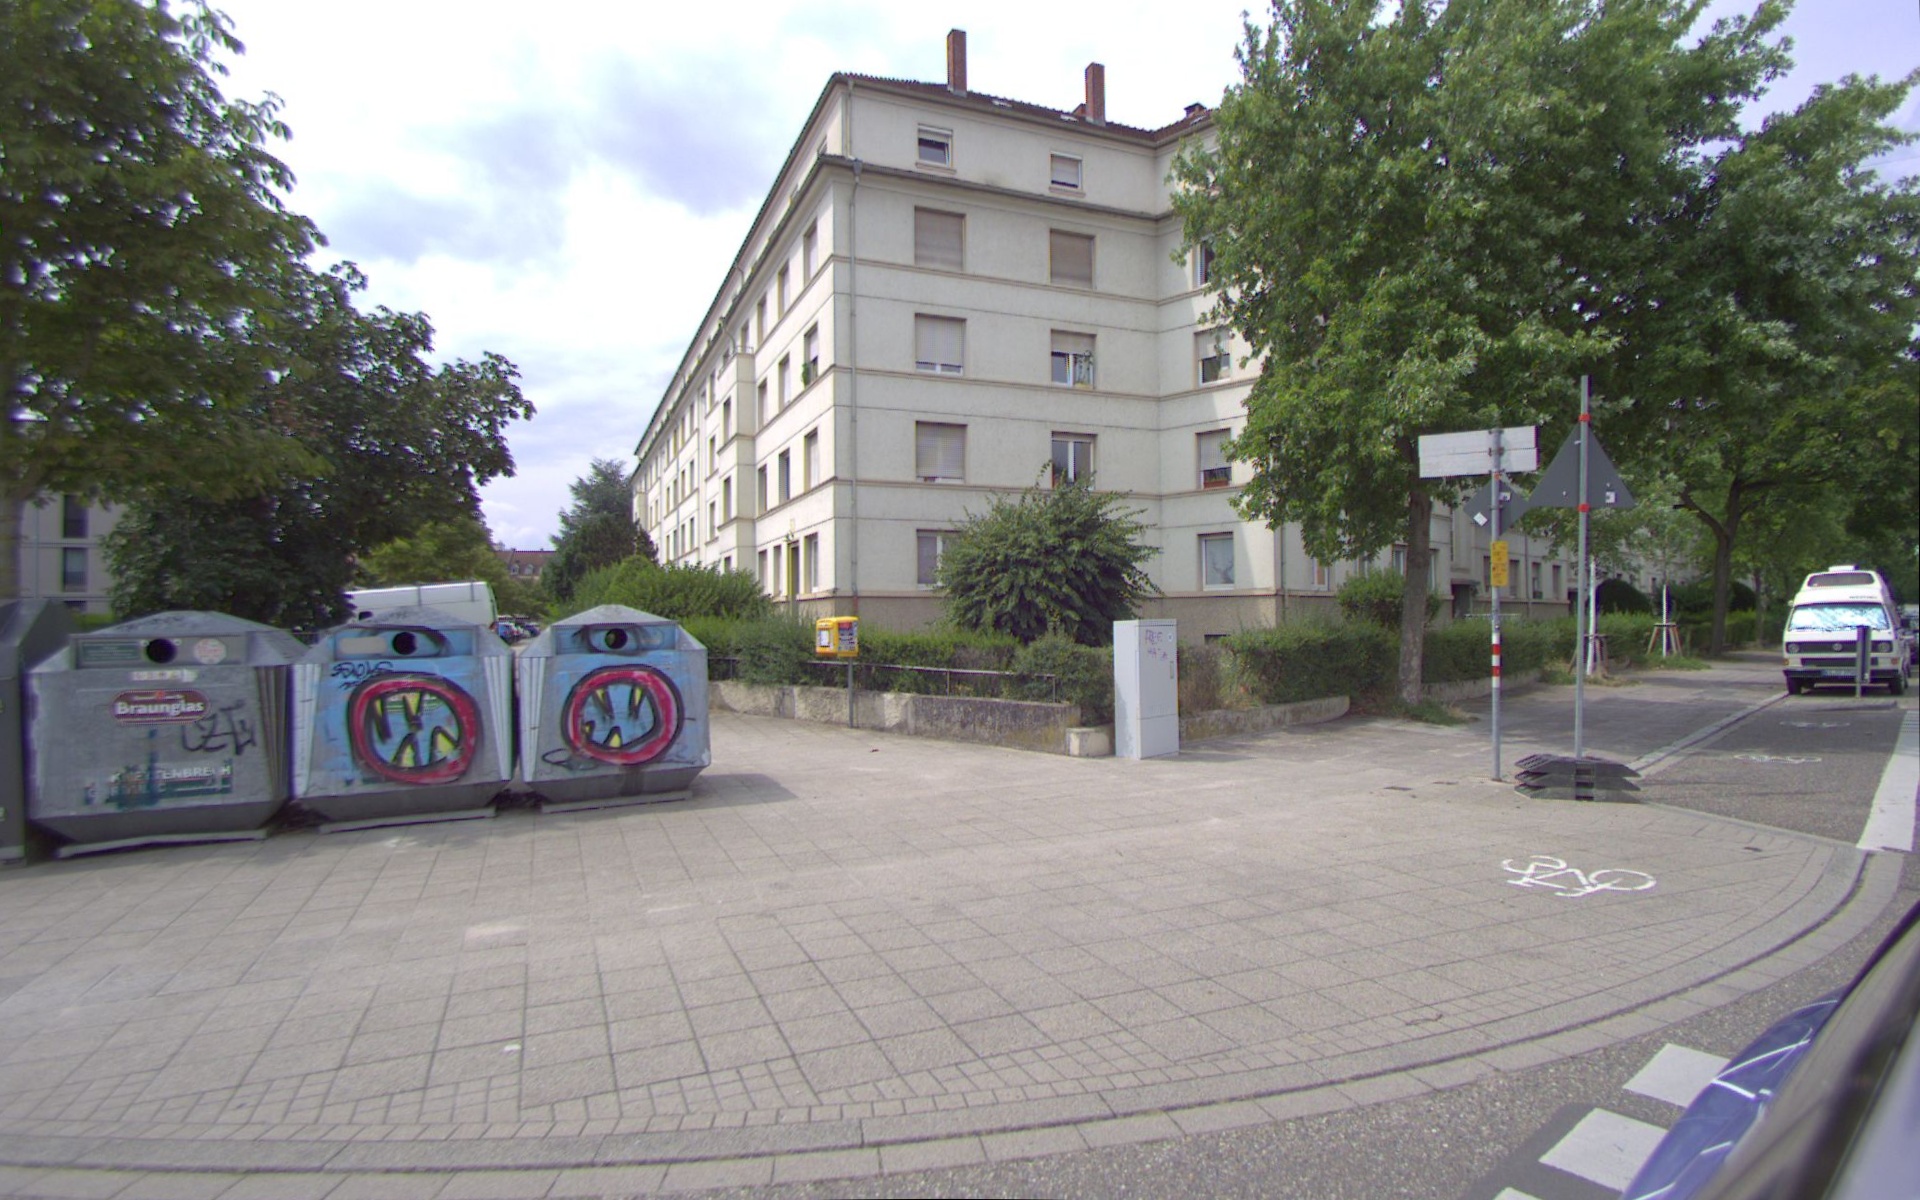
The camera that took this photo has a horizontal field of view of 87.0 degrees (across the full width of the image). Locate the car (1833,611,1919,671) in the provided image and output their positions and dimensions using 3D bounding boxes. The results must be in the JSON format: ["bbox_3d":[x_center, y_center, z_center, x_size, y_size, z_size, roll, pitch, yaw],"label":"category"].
[{"bbox_3d":[24.467,1.063,26.877,1.671,1.469,4.571,-4,-3,43],"label":"car"}]

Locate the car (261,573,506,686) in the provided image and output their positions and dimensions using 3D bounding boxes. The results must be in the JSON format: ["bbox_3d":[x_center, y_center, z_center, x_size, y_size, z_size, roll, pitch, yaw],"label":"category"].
[{"bbox_3d":[-14.054,0.710,25.025,5.000,2.486,1.904,-2,-3,-21],"label":"car"}]

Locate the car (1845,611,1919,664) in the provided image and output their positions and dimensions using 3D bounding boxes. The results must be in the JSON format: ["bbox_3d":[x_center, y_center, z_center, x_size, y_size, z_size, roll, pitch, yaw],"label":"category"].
[{"bbox_3d":[27.930,1.112,30.510,1.671,1.473,3.725,-5,-4,43],"label":"car"}]

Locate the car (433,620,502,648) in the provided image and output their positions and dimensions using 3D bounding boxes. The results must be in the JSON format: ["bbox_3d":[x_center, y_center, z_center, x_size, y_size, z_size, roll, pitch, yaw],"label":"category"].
[{"bbox_3d":[-31.599,2.167,65.048,3.837,1.610,1.803,-2,-3,-21],"label":"car"}]

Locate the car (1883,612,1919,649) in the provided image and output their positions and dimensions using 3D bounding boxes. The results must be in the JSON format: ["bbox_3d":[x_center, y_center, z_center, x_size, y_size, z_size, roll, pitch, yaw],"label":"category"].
[{"bbox_3d":[38.661,1.217,40.942,3.721,1.418,1.673,1,-1,-43],"label":"car"}]

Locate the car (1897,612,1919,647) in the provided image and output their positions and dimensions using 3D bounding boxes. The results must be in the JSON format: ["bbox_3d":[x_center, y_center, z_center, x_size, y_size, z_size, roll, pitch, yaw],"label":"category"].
[{"bbox_3d":[42.265,1.268,44.238,3.721,1.472,1.673,1,-1,-43],"label":"car"}]

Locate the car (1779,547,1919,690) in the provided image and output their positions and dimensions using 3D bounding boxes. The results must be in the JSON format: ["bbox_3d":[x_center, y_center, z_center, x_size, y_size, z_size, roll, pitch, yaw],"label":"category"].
[{"bbox_3d":[18.713,0.393,21.082,4.825,2.636,1.895,0,-4,-45],"label":"car"}]

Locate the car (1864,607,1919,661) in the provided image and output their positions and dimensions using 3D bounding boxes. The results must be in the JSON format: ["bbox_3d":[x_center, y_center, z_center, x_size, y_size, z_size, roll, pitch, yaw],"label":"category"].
[{"bbox_3d":[31.597,1.091,34.017,1.671,1.697,4.204,0,-1,43],"label":"car"}]
